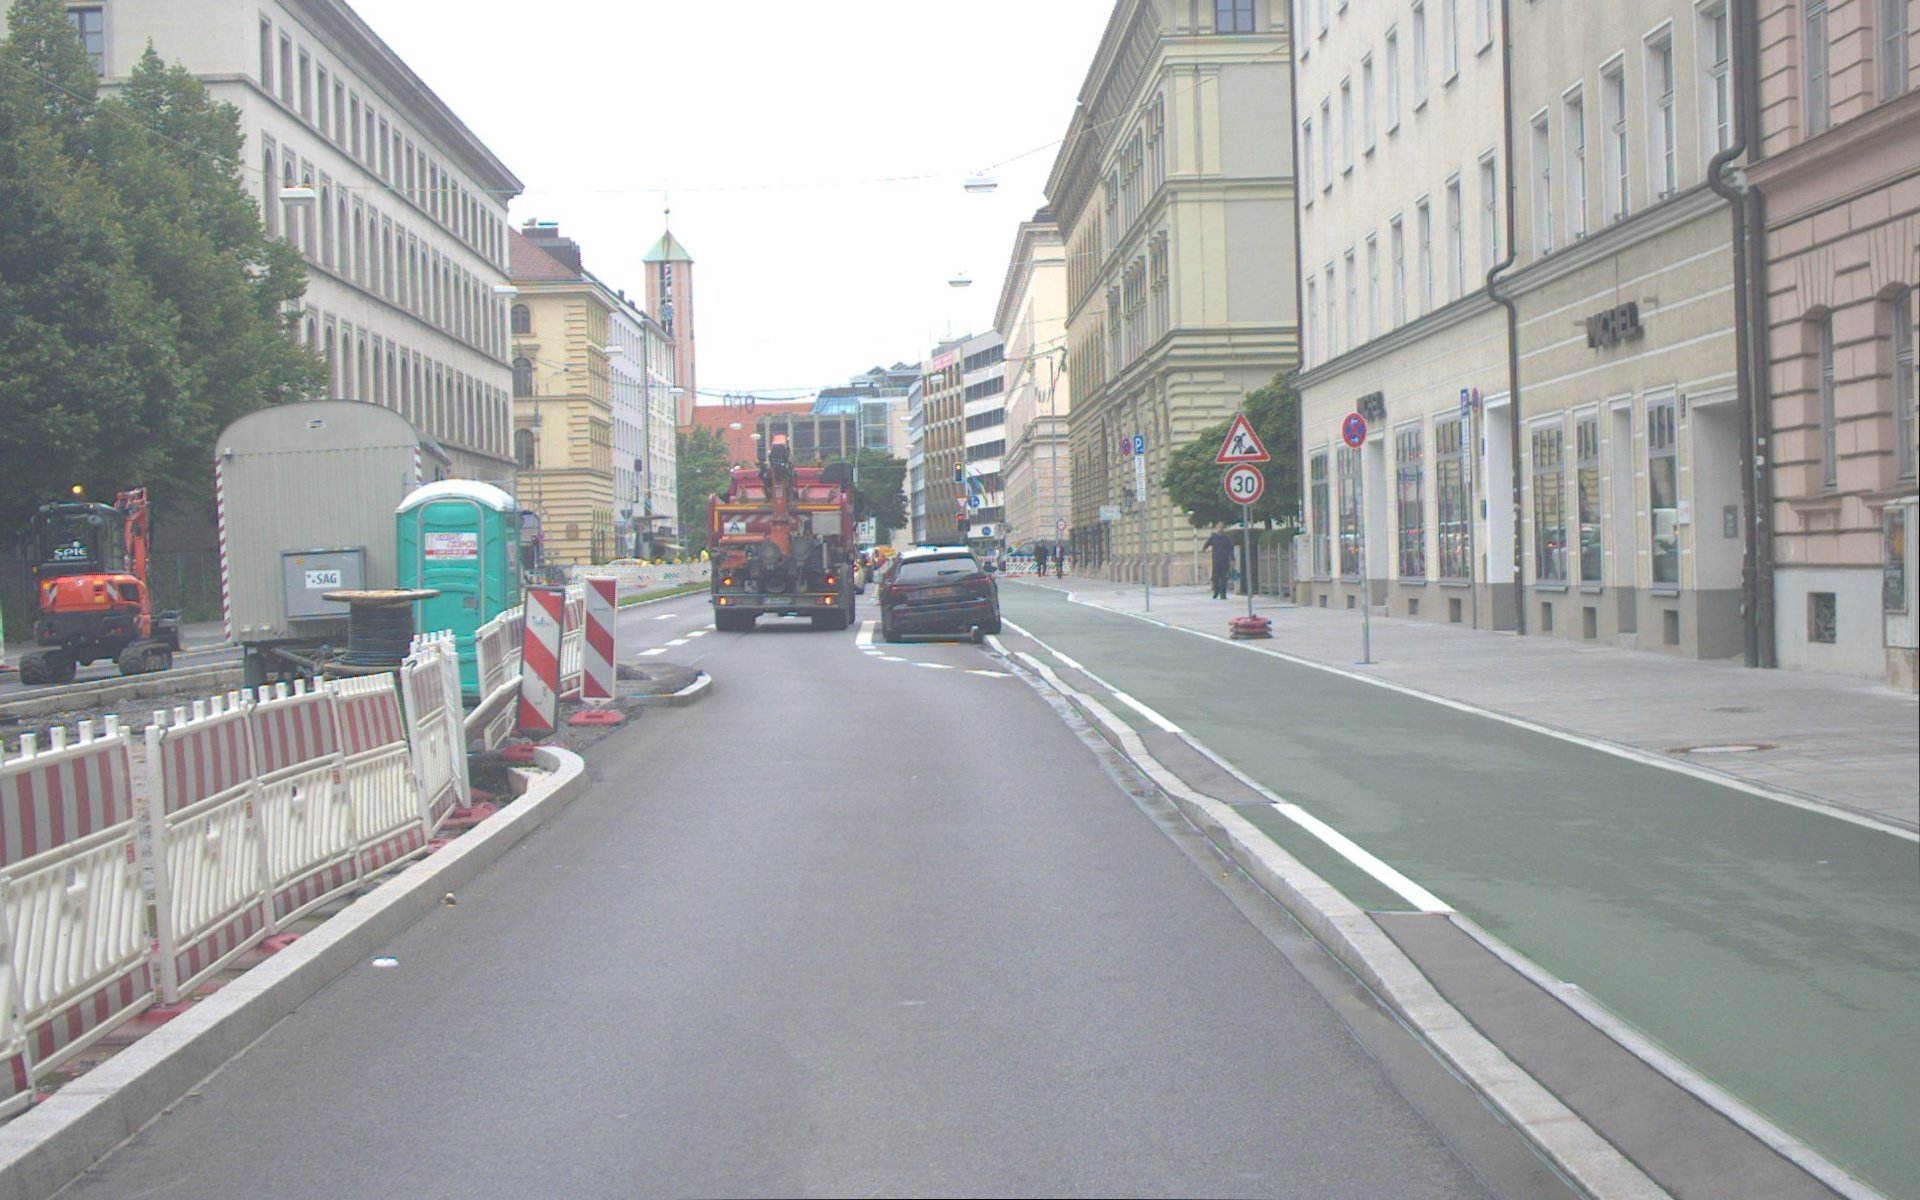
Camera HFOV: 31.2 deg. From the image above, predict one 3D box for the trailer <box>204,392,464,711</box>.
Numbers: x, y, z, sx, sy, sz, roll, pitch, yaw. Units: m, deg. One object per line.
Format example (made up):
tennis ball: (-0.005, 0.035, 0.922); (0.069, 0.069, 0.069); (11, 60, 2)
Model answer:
trailer: (-6.994, -0.569, 39.200); (2.226, 3.232, 7.521); (-2, 1, -6)

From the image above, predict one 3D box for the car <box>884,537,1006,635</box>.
car: (-0.287, -0.268, 56.445); (1.801, 1.475, 4.687); (-2, 1, -2)

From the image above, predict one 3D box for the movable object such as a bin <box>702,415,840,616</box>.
movable object such as a bin: (-3.529, -1.579, 65.089); (2.423, 3.599, 5.852); (-1, 1, -2)

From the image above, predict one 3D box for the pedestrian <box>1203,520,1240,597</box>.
pedestrian: (6.303, -1.002, 82.921); (0.790, 1.830, 0.777); (-2, 1, 0)

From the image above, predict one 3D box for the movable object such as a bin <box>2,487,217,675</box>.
movable object such as a bin: (-12.187, -0.311, 49.571); (1.924, 2.563, 4.493); (-1, 1, 0)

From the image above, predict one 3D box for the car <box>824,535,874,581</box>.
car: (-3.694, -1.423, 115.176); (1.610, 1.490, 3.425); (-1, 1, -1)
